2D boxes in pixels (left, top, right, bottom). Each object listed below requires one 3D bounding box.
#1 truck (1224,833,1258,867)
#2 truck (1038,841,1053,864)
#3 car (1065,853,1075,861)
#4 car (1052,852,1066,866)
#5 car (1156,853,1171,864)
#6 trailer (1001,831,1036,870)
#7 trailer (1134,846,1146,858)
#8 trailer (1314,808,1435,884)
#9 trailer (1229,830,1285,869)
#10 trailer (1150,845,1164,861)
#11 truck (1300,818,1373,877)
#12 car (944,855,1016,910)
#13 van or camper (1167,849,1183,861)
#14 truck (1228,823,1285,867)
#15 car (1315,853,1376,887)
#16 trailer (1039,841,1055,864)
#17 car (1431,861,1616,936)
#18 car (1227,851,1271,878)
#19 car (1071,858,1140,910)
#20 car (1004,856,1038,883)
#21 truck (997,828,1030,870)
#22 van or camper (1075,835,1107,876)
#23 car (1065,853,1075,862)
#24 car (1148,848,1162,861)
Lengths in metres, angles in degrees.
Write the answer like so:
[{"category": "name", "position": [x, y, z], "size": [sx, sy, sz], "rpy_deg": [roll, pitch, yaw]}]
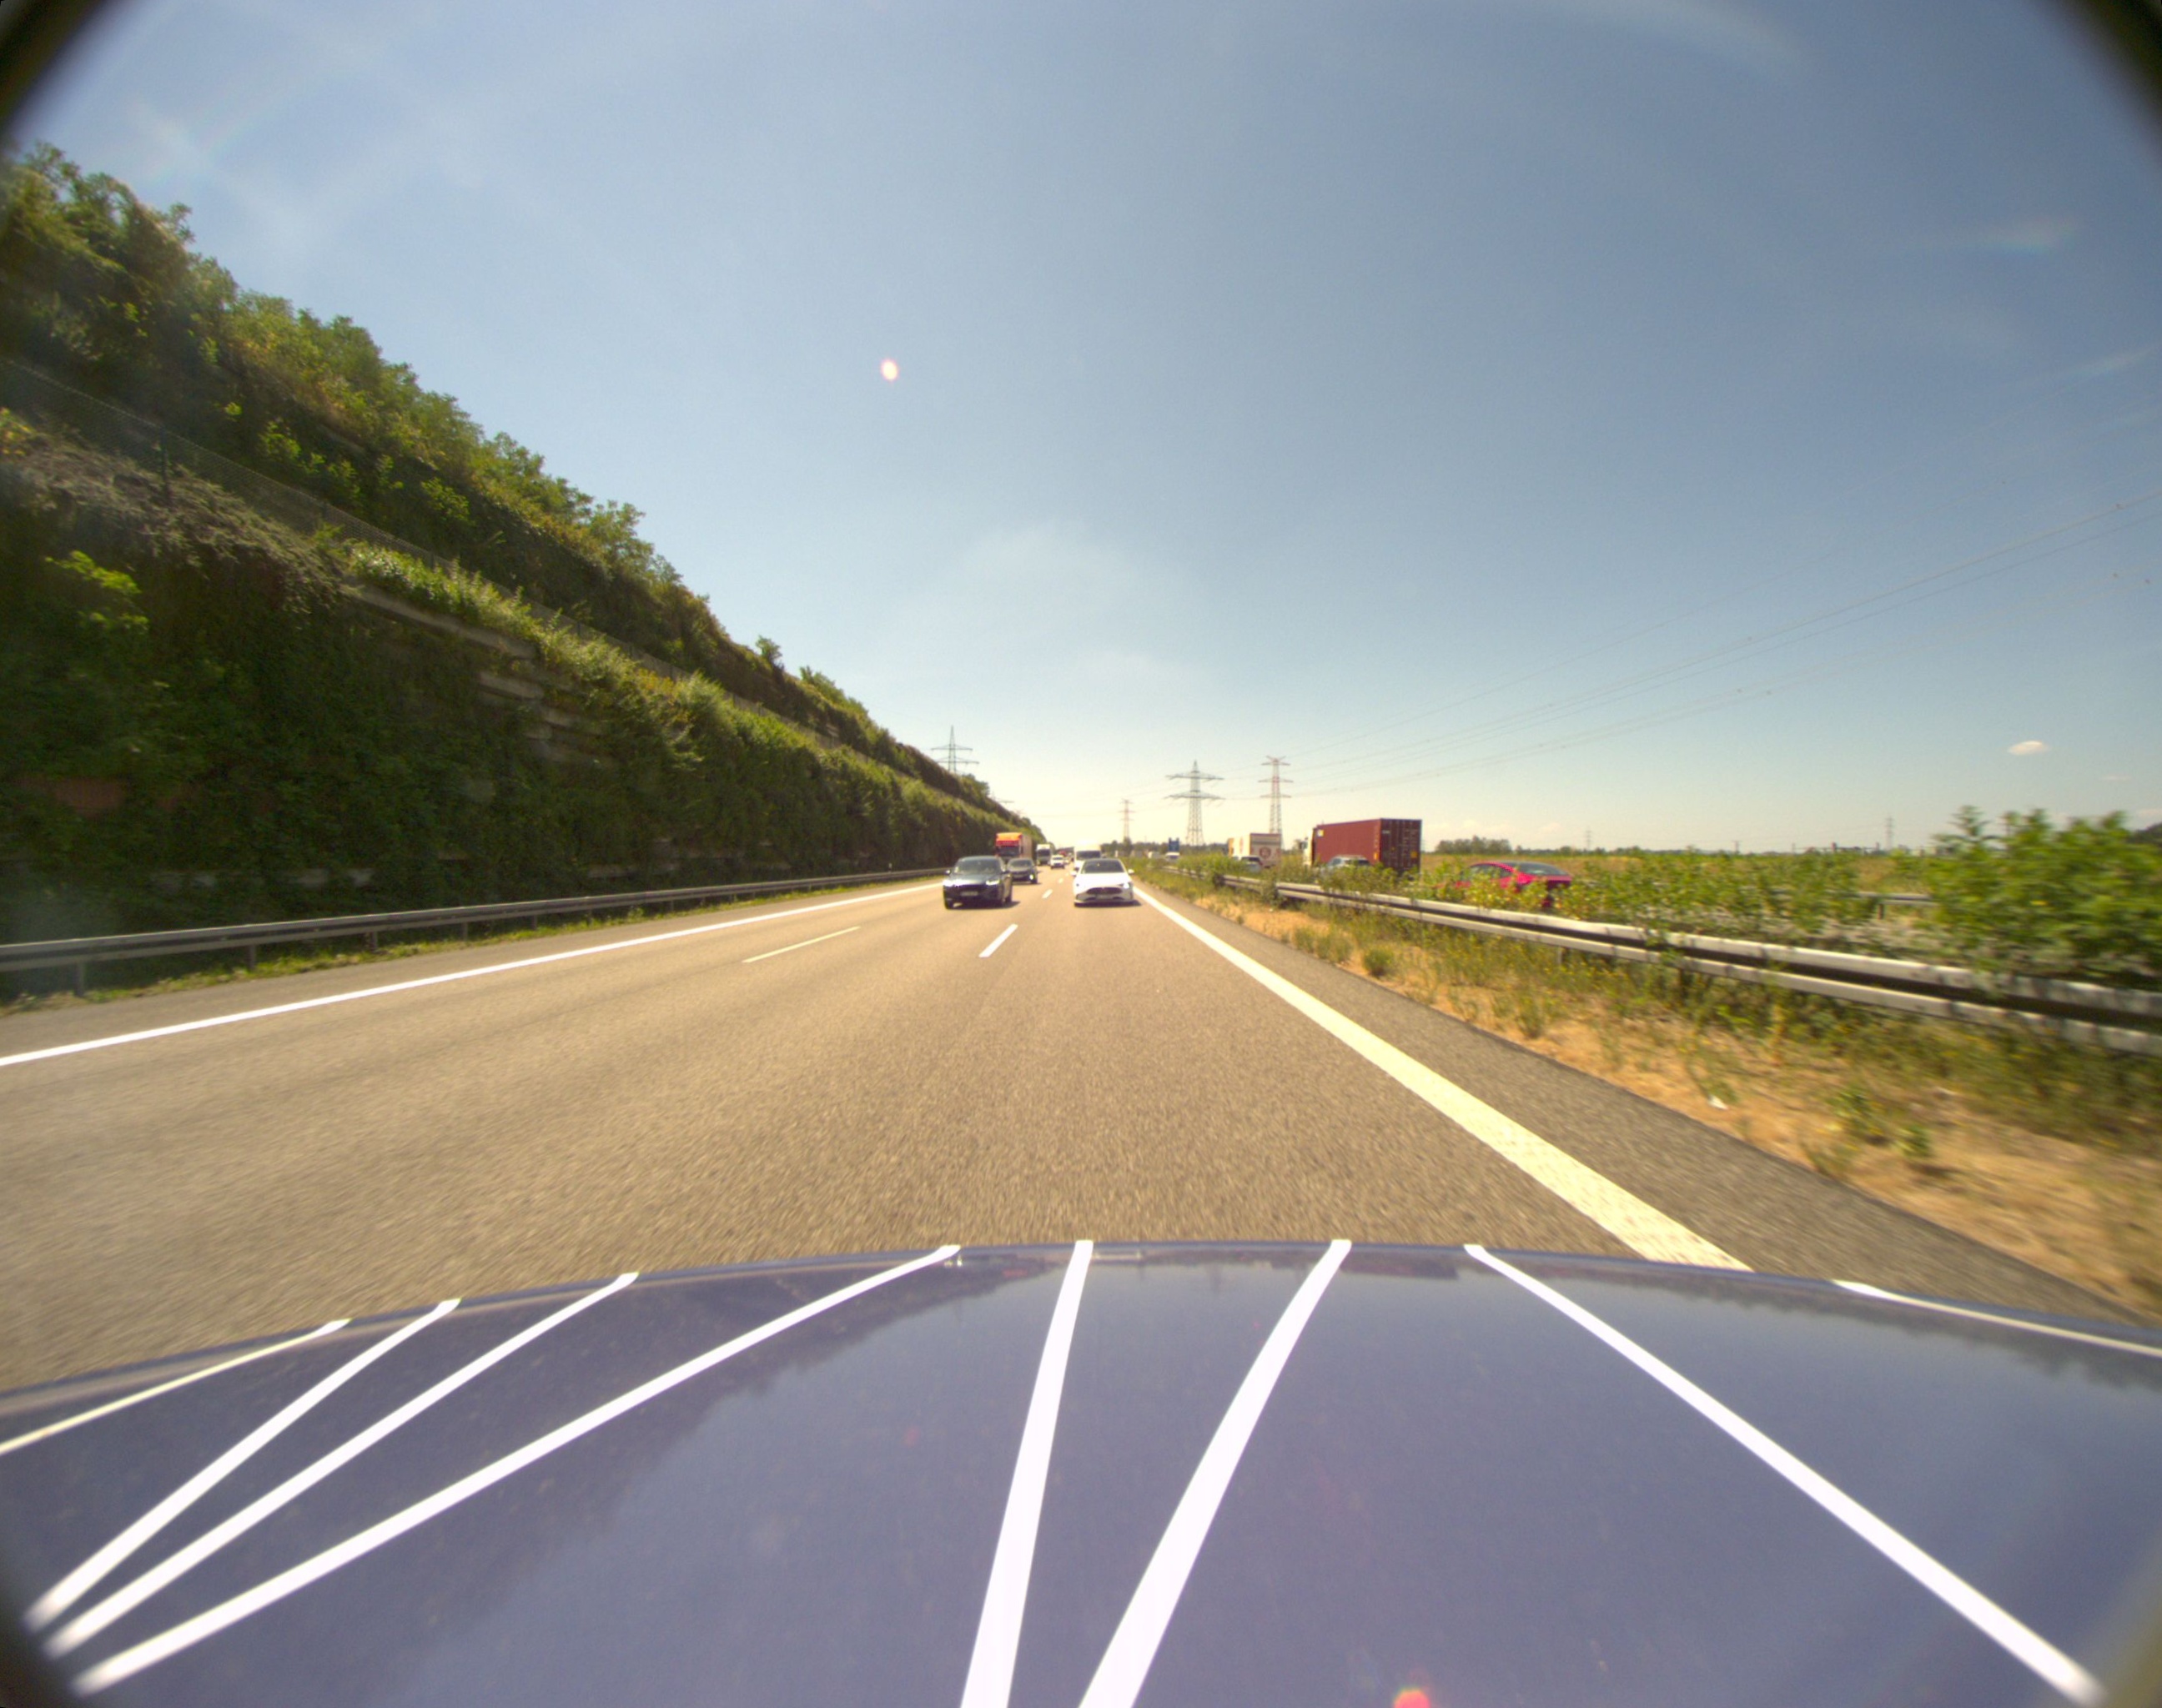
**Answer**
[{"category": "truck", "position": [18.874, -0.420, 89.865], "size": [2.870, 3.885, 5.620], "rpy_deg": [0, 0, 0]}, {"category": "truck", "position": [-6.603, -0.309, 141.355], "size": [2.514, 4.195, 6.255], "rpy_deg": [-1, 0, 0]}, {"category": "car", "position": [-2.041, 0.595, 144.220], "size": [1.780, 1.520, 4.000], "rpy_deg": [0, 0, 0]}, {"category": "car", "position": [-2.877, 0.703, 100.284], "size": [1.784, 1.783, 4.000], "rpy_deg": [-1, 0, -1]}, {"category": "car", "position": [11.236, 0.651, 104.134], "size": [1.670, 1.487, 4.000], "rpy_deg": [0, 0, 1]}, {"category": "trailer", "position": [-6.800, -0.372, 84.254], "size": [2.652, 3.981, 13.605], "rpy_deg": [-1, 0, 0]}, {"category": "trailer", "position": [19.398, -0.741, 249.627], "size": [2.776, 3.807, 14.239], "rpy_deg": [-1, 0, 1]}, {"category": "trailer", "position": [18.789, -0.511, 49.877], "size": [3.201, 4.281, 12.270], "rpy_deg": [-2, 0, 1]}, {"category": "trailer", "position": [18.942, -0.463, 83.045], "size": [2.857, 3.954, 14.142], "rpy_deg": [0, 0, 0]}, {"category": "trailer", "position": [20.029, -0.316, 199.714], "size": [2.743, 4.022, 9.423], "rpy_deg": [0, 0, 0]}, {"category": "truck", "position": [18.818, -0.447, 56.320], "size": [3.221, 4.134, 6.438], "rpy_deg": [0, 0, 0]}, {"category": "car", "position": [-3.283, 0.867, 25.466], "size": [1.799, 1.643, 4.137], "rpy_deg": [-1, 0, 0]}, {"category": "van or camper", "position": [19.489, 0.205, 157.795], "size": [2.449, 2.503, 6.483], "rpy_deg": [0, 0, 0]}, {"category": "truck", "position": [14.767, -0.723, 64.740], "size": [2.944, 3.393, 9.367], "rpy_deg": [1, 0, 2]}, {"category": "car", "position": [13.769, 0.794, 39.806], "size": [1.713, 1.650, 4.186], "rpy_deg": [0, 0, 0]}, {"category": "trailer", "position": [-6.678, -0.264, 149.772], "size": [2.521, 4.187, 17.025], "rpy_deg": [-1, 0, -1]}, {"category": "car", "position": [9.904, 0.921, 17.448], "size": [1.756, 1.477, 4.201], "rpy_deg": [0, 0, -1]}, {"category": "car", "position": [10.819, 0.658, 49.244], "size": [1.840, 1.658, 4.586], "rpy_deg": [-1, 0, 0]}, {"category": "car", "position": [0.707, 0.884, 24.392], "size": [1.999, 1.473, 4.108], "rpy_deg": [-1, 0, -1]}, {"category": "car", "position": [-3.532, 0.903, 45.315], "size": [1.754, 1.516, 3.995], "rpy_deg": [-1, 0, 0]}, {"category": "truck", "position": [-6.783, -0.476, 76.983], "size": [2.624, 3.969, 6.526], "rpy_deg": [-1, 0, 0]}, {"category": "van or camper", "position": [0.678, 0.091, 55.631], "size": [2.102, 2.752, 6.756], "rpy_deg": [-1, 0, -1]}, {"category": "car", "position": [-2.082, 0.646, 146.895], "size": [1.782, 1.716, 3.750], "rpy_deg": [-2, 0, 0]}, {"category": "car", "position": [14.798, 0.084, 151.452], "size": [2.110, 2.615, 7.467], "rpy_deg": [1, 0, 1]}]
